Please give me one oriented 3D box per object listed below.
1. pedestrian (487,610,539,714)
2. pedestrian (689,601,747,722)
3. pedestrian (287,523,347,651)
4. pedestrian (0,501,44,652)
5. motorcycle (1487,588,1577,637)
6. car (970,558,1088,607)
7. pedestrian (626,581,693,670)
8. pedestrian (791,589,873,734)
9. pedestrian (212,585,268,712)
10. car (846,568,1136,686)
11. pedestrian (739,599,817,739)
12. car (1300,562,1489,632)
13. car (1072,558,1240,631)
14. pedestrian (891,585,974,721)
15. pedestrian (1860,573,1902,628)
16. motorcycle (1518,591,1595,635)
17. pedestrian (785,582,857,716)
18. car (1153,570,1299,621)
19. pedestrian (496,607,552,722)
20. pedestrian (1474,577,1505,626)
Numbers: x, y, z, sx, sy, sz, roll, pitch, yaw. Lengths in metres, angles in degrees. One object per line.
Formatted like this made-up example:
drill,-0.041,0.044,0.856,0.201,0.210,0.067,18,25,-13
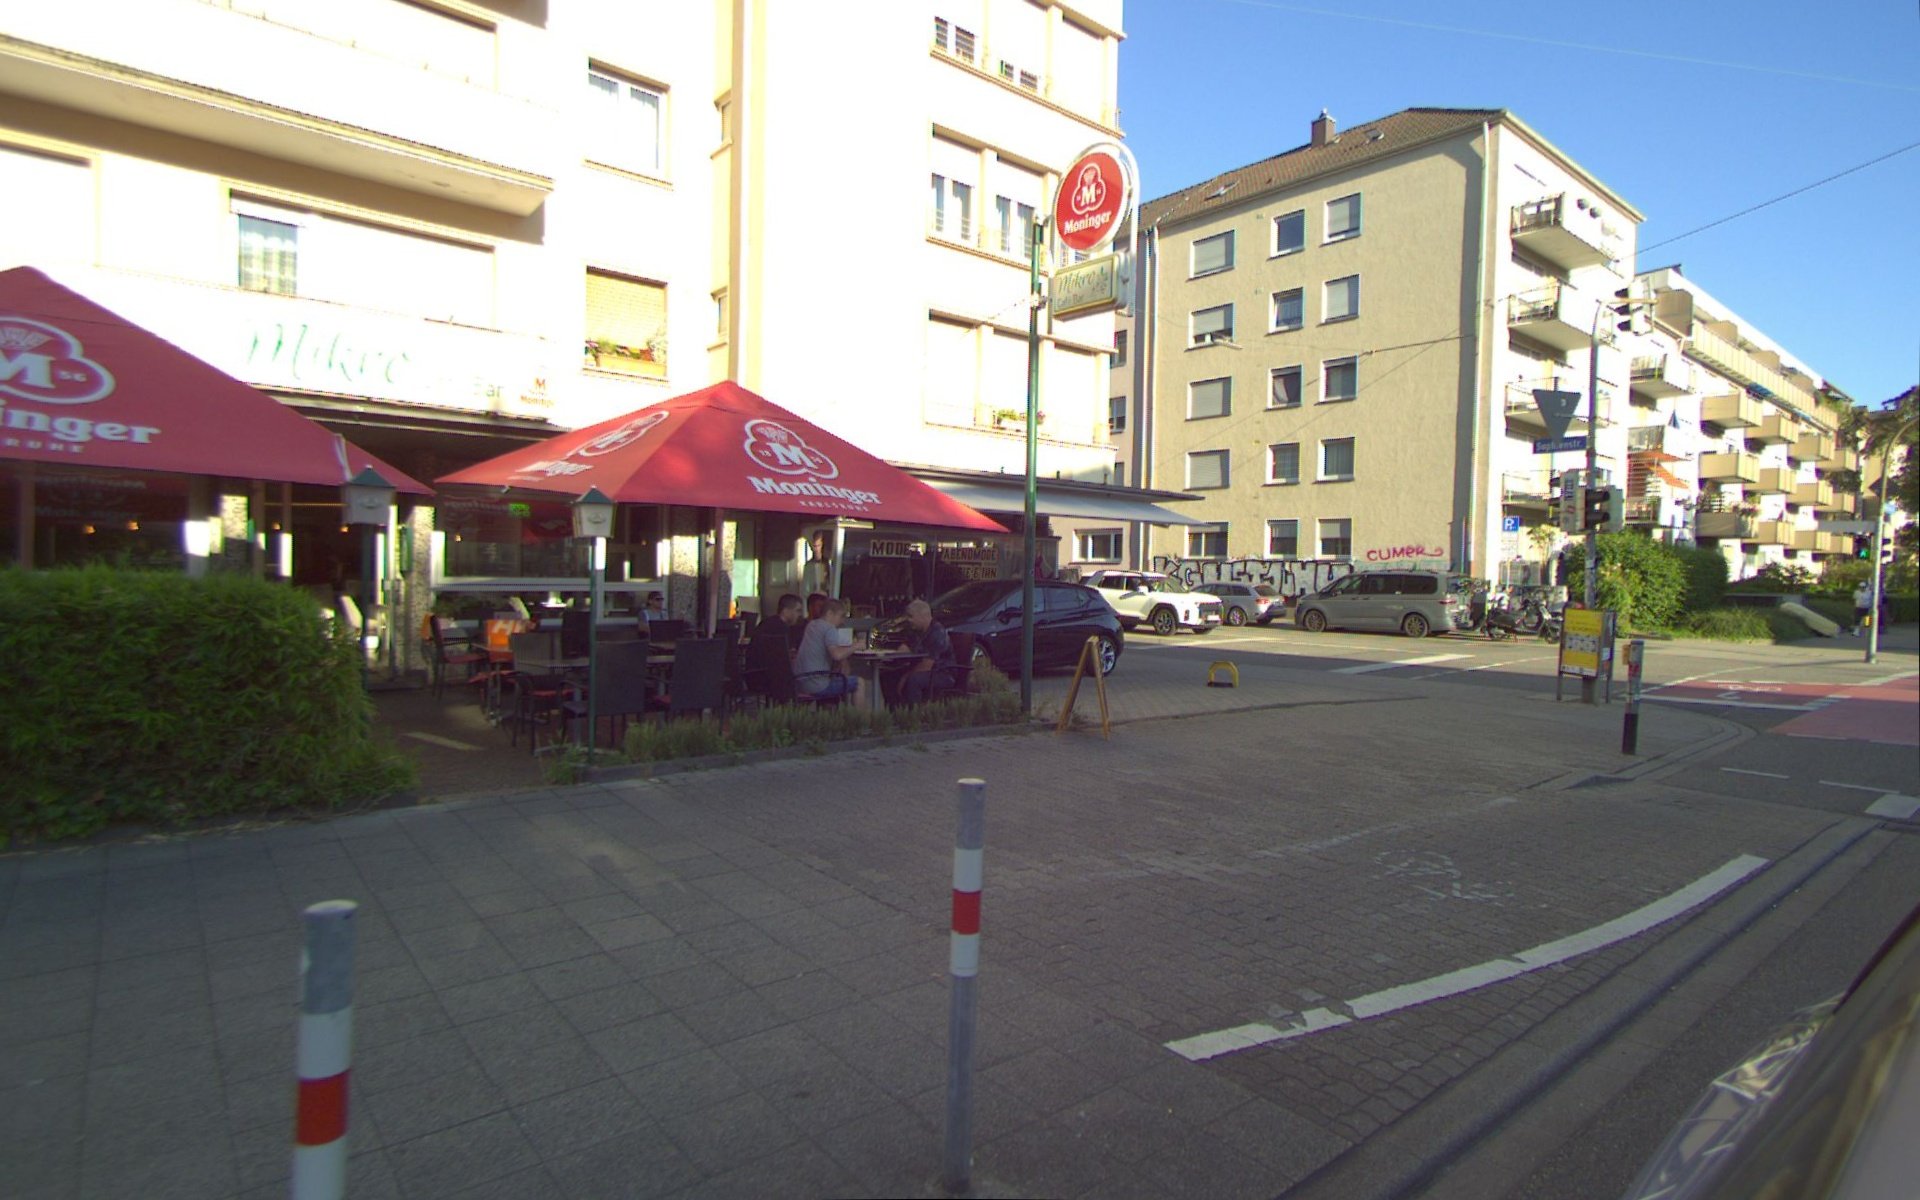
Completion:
pedestrian,-4.582,0.620,10.374,0.405,1.003,0.526,-1,1,-34
pedestrian,-2.428,0.597,10.143,0.405,1.164,0.526,0,1,-34
pedestrian,-9.269,-0.194,14.593,0.672,1.797,0.525,-1,1,-39
pedestrian,-11.572,-0.284,12.256,0.672,1.797,0.525,-1,1,-39
motorcycle,15.154,0.307,26.844,1.981,1.215,0.764,1,1,38
car,2.803,-0.770,42.327,1.919,1.930,5.071,-1,2,-40
pedestrian,-4.082,0.330,13.752,0.707,1.164,0.610,-1,1,-38
pedestrian,-1.084,0.494,8.550,0.516,1.164,0.495,-1,1,-36
pedestrian,-7.175,0.463,10.102,0.405,1.203,0.526,-2,2,-34
car,0.548,0.299,15.014,4.129,1.502,1.832,-1,2,-40
pedestrian,-1.598,0.585,8.872,0.516,1.164,0.487,-1,1,-36
car,12.885,-0.167,30.265,1.920,1.888,4.837,-2,3,-42
car,5.341,-0.207,28.071,1.918,1.860,4.350,-1,2,-40
pedestrian,-0.247,0.455,9.092,0.620,1.164,0.413,-1,1,-36
pedestrian,29.229,0.015,32.113,0.648,1.703,0.831,0,2,-36
motorcycle,16.102,0.343,27.339,0.584,1.125,1.698,-1,1,-39
pedestrian,-1.405,0.470,10.212,0.530,1.299,0.525,-1,1,-38
car,9.116,-0.208,34.984,1.920,1.560,4.615,-2,3,-42
pedestrian,-4.276,0.613,9.917,0.405,1.062,0.526,-1,1,-34
pedestrian,15.714,0.036,30.024,0.584,1.409,0.641,-1,1,-41
